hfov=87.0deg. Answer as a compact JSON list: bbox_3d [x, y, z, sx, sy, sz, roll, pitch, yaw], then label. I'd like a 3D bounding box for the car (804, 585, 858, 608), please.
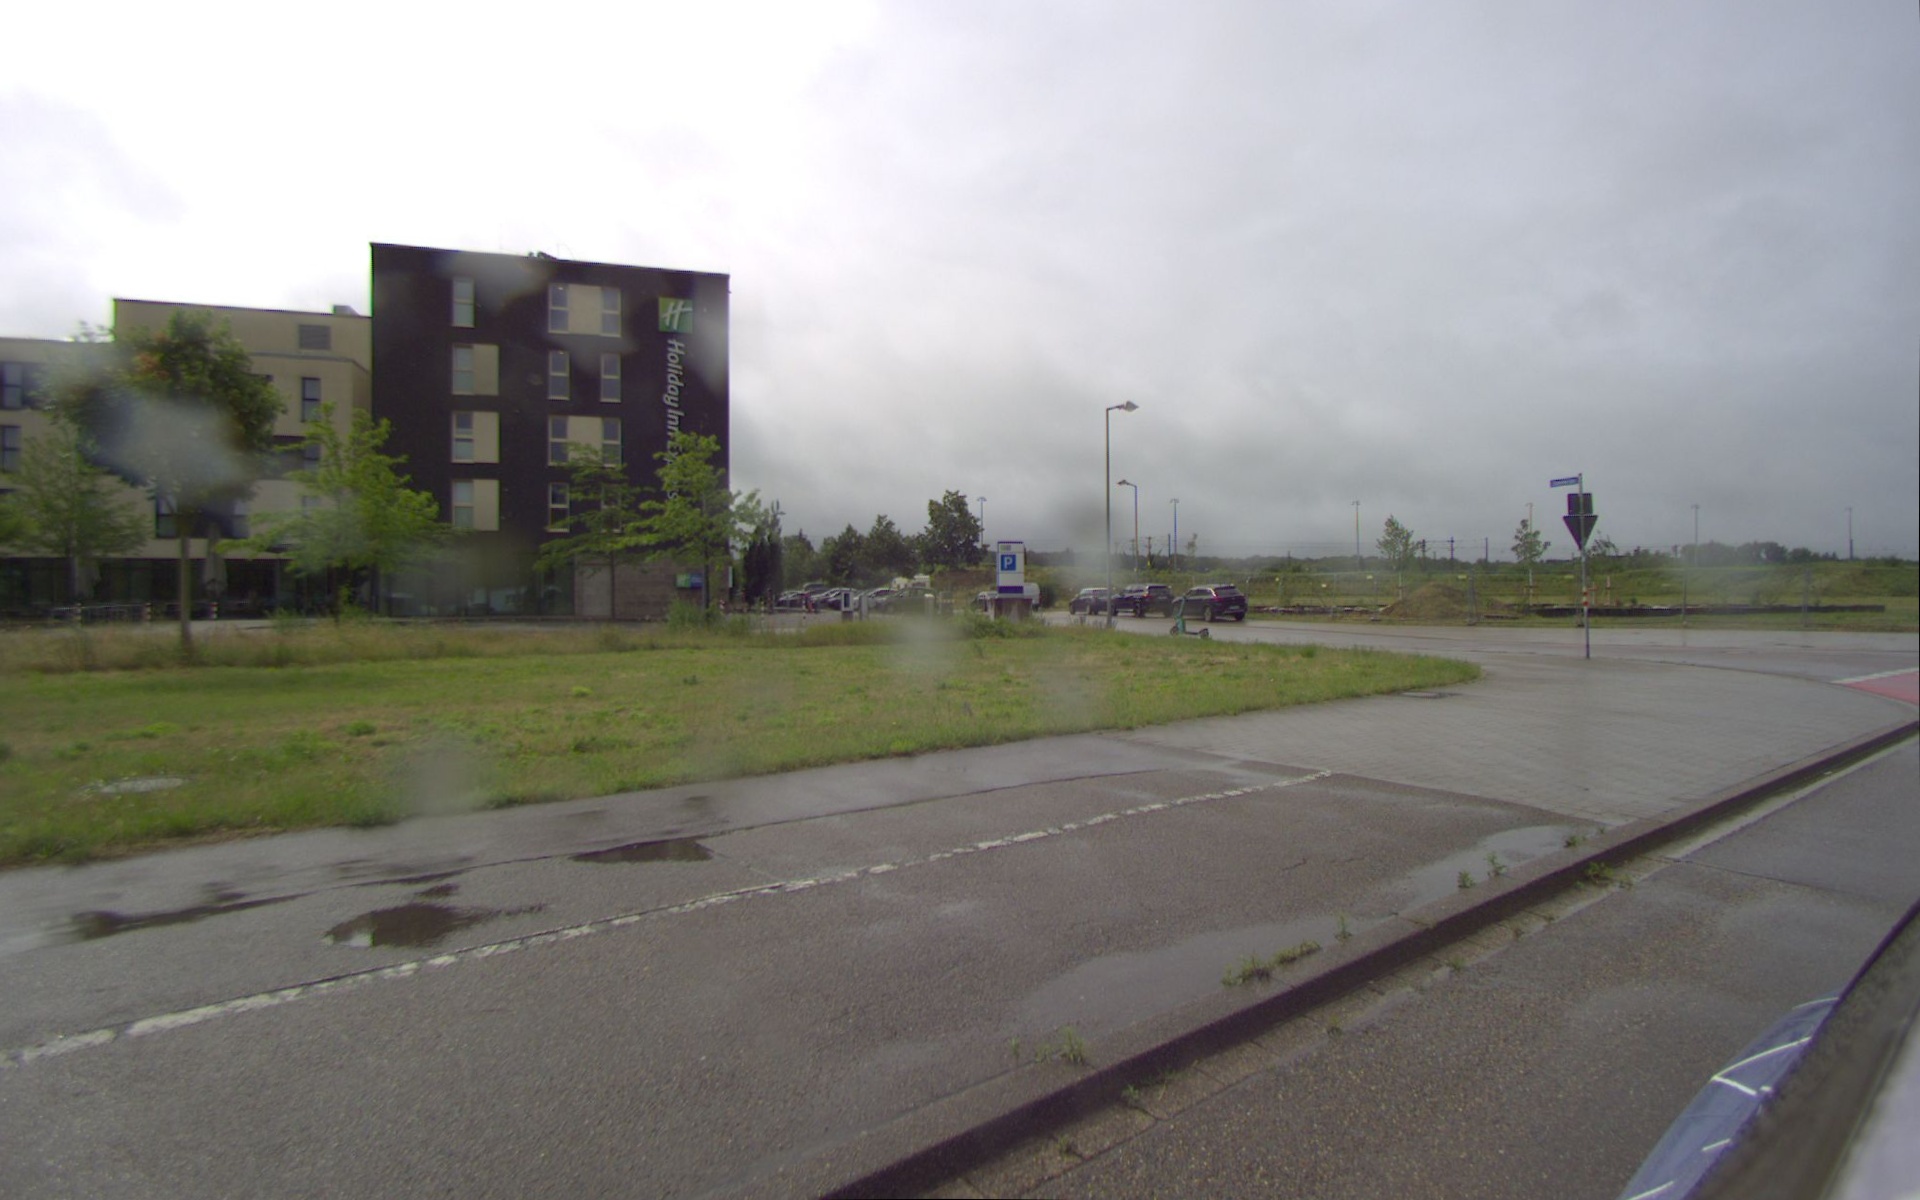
[{"bbox_3d":[-9.690,-0.256,75.977,3.761,1.636,1.788,0,-3,-18],"label":"car"}]

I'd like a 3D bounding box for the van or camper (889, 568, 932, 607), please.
[{"bbox_3d":[-4.762,-1.118,96.690,2.476,3.244,6.811,0,-3,-17],"label":"van or camper"}]

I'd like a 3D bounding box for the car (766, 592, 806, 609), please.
[{"bbox_3d":[-17.651,0.051,102.384,3.761,1.636,1.788,0,-3,-18],"label":"car"}]

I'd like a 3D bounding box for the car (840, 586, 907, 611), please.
[{"bbox_3d":[-5.272,-0.075,61.608,3.727,1.414,1.771,0,-3,-18],"label":"car"}]

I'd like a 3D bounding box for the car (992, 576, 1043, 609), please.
[{"bbox_3d":[3.775,-0.455,67.064,1.958,1.796,4.343,0,-5,-16],"label":"car"}]

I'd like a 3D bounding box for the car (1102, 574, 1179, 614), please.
[{"bbox_3d":[8.942,-0.267,50.395,1.958,1.750,4.006,0,-3,-21],"label":"car"}]

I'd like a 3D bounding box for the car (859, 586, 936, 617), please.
[{"bbox_3d":[-3.371,0.072,54.458,3.761,1.548,1.788,0,-3,-18],"label":"car"}]

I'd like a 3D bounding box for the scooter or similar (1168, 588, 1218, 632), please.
[{"bbox_3d":[6.576,0.280,28.547,1.280,1.202,0.495,2,0,43],"label":"scooter or similar"}]

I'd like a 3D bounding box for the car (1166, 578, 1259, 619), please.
[{"bbox_3d":[11.077,-0.093,44.638,1.959,1.638,4.008,-3,1,-21],"label":"car"}]

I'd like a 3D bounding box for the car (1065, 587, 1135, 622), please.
[{"bbox_3d":[7.461,0.284,54.243,1.958,1.663,4.006,0,-3,-21],"label":"car"}]

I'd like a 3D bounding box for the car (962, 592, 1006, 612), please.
[{"bbox_3d":[1.721,0.163,72.989,1.958,1.432,4.008,0,-1,-18],"label":"car"}]

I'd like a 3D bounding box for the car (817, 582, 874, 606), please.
[{"bbox_3d":[-8.259,-0.428,72.931,3.761,1.636,1.788,0,-3,-18],"label":"car"}]
